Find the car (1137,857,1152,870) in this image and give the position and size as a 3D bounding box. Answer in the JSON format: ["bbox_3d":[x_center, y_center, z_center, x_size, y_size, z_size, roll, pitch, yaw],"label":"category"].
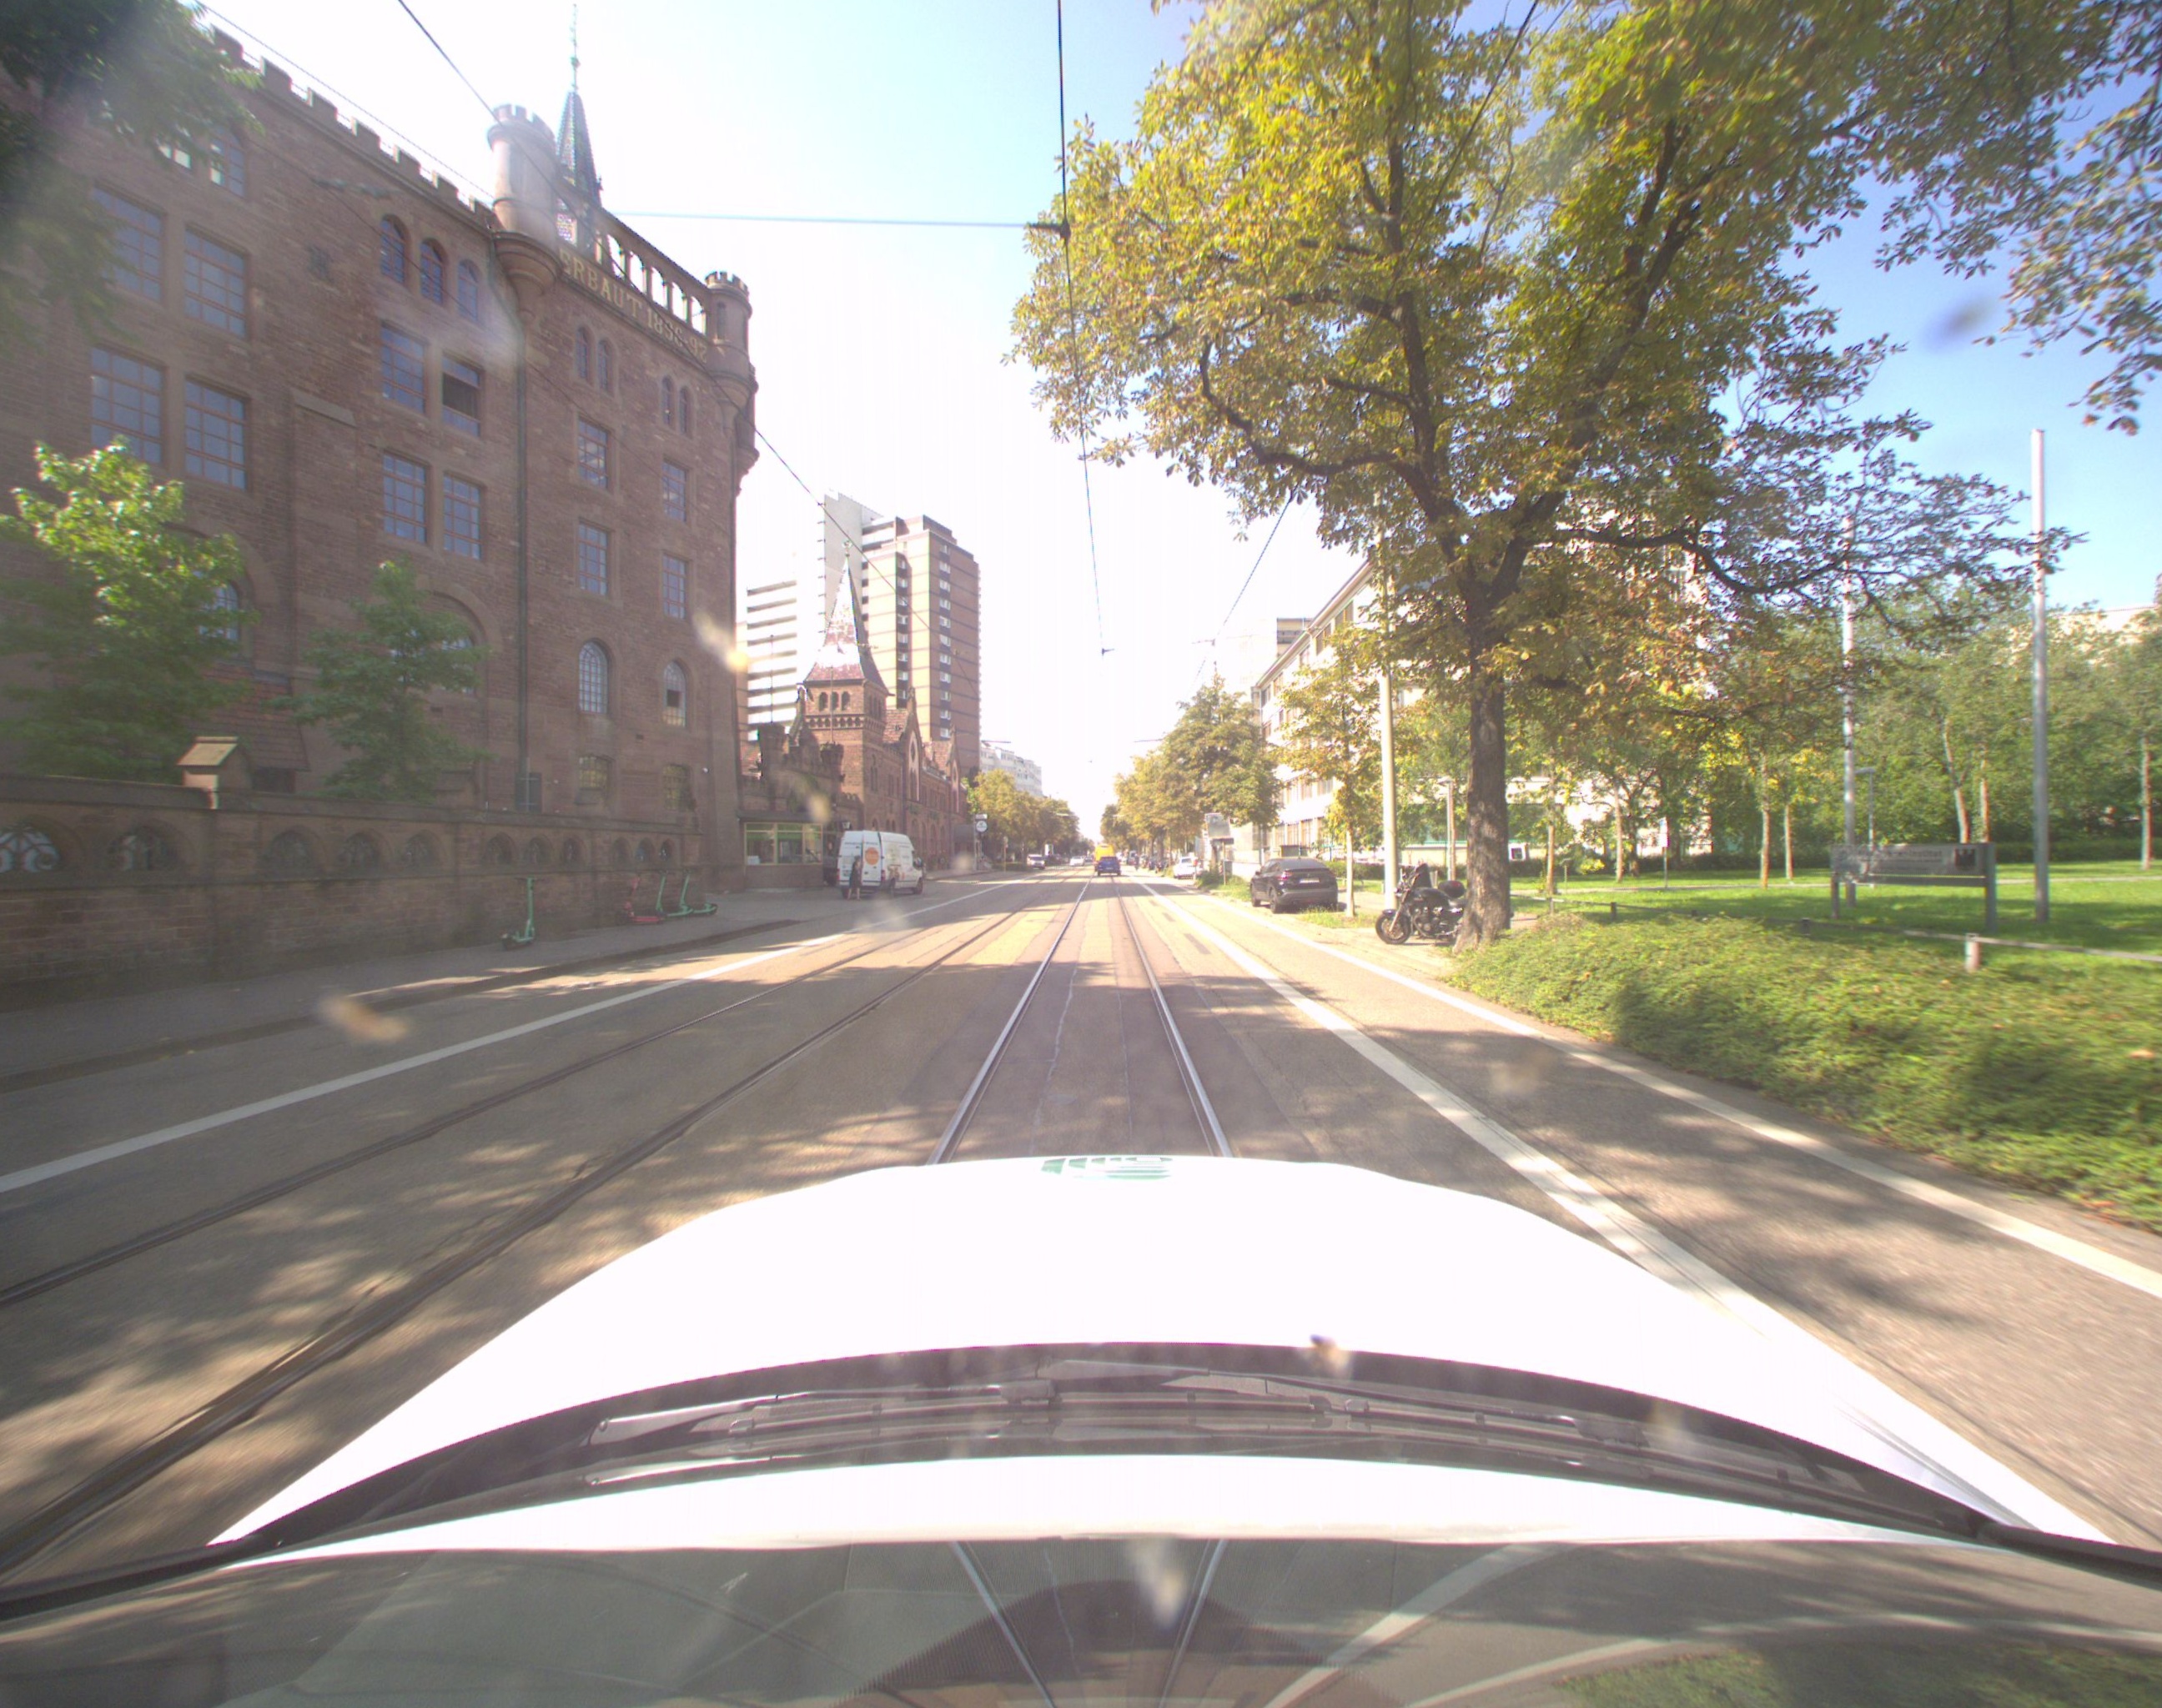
[{"bbox_3d":[8.396,1.297,107.978,1.734,1.668,4.362,0,0,1],"label":"car"}]

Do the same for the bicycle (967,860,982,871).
[{"bbox_3d":[-10.655,1.143,81.382,1.447,1.093,0.399,3,-1,-3],"label":"bicycle"}]

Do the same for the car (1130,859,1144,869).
[{"bbox_3d":[8.863,1.571,128.498,1.901,1.431,4.292,0,0,1],"label":"car"}]

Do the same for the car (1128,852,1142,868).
[{"bbox_3d":[9.160,1.023,139.096,1.987,2.756,5.761,0,0,1],"label":"car"}]

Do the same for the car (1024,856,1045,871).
[{"bbox_3d":[-5.875,1.205,101.925,1.751,1.796,3.976,0,0,-17],"label":"car"}]

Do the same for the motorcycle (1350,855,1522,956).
[{"bbox_3d":[5.759,0.773,13.313,2.423,1.516,0.858,0,-1,40],"label":"motorcycle"}]

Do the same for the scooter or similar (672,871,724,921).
[{"bbox_3d":[-9.370,1.015,19.967,0.336,1.178,1.185,0,-1,27],"label":"scooter or similar"}]

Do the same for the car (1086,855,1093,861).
[{"bbox_3d":[2.321,1.216,226.623,1.774,1.684,4.347,0,0,1],"label":"car"}]

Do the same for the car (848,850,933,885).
[{"bbox_3d":[-10.578,0.731,45.386,4.119,1.743,2.001,3,0,2],"label":"car"}]

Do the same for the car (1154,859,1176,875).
[{"bbox_3d":[7.530,1.136,73.236,1.653,1.408,4.219,-1,-1,2],"label":"car"}]

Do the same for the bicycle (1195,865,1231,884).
[{"bbox_3d":[6.826,1.070,42.094,1.805,0.958,0.558,0,-1,1],"label":"bicycle"}]

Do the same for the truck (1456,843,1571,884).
[{"bbox_3d":[25.005,0.564,47.243,5.484,2.326,2.300,0,0,2],"label":"truck"}]

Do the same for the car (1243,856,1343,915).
[{"bbox_3d":[6.095,0.857,23.977,1.750,1.515,4.609,-2,0,0],"label":"car"}]

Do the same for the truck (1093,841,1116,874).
[{"bbox_3d":[2.387,0.375,82.615,2.127,3.124,6.087,-1,0,2],"label":"truck"}]

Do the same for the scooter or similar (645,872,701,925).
[{"bbox_3d":[-9.418,1.009,18.833,0.336,1.178,1.185,0,-1,27],"label":"scooter or similar"}]

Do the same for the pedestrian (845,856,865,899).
[{"bbox_3d":[-8.380,0.867,30.232,0.492,1.599,0.555,-1,-1,43],"label":"pedestrian"}]

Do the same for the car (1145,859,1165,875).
[{"bbox_3d":[7.682,1.310,84.787,1.736,1.556,4.219,-1,-1,2],"label":"car"}]

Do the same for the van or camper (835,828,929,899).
[{"bbox_3d":[-8.025,0.380,33.516,2.104,2.675,5.959,0,0,3],"label":"van or camper"}]

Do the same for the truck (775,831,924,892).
[{"bbox_3d":[-10.856,0.318,38.415,6.288,2.538,2.135,3,1,6],"label":"truck"}]

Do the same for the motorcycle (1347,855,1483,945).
[{"bbox_3d":[6.073,0.780,15.009,0.854,1.516,2.436,0,0,-23],"label":"motorcycle"}]

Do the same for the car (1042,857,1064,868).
[{"bbox_3d":[-5.388,1.597,157.968,4.021,2.014,1.834,0,-1,-42],"label":"car"}]

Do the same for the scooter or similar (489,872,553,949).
[{"bbox_3d":[-9.158,0.893,13.354,0.421,1.178,1.310,0,0,-14],"label":"scooter or similar"}]

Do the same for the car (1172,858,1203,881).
[{"bbox_3d":[7.153,1.015,54.853,1.653,1.481,4.219,-1,-1,2],"label":"car"}]

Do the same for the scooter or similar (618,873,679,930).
[{"bbox_3d":[-9.363,1.004,17.660,0.336,1.178,1.185,0,-1,27],"label":"scooter or similar"}]

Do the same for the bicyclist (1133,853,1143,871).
[{"bbox_3d":[5.709,0.767,81.665,1.028,1.812,1.016,0,-1,1],"label":"bicyclist"}]

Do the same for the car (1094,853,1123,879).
[{"bbox_3d":[2.138,0.908,63.263,2.127,1.858,5.570,-1,0,2],"label":"car"}]

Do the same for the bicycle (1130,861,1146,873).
[{"bbox_3d":[5.675,1.295,81.647,1.396,1.134,4.001,0,0,1],"label":"bicycle"}]

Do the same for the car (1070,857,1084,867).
[{"bbox_3d":[-0.574,1.188,119.797,1.839,1.492,4.870,0,0,2],"label":"car"}]
